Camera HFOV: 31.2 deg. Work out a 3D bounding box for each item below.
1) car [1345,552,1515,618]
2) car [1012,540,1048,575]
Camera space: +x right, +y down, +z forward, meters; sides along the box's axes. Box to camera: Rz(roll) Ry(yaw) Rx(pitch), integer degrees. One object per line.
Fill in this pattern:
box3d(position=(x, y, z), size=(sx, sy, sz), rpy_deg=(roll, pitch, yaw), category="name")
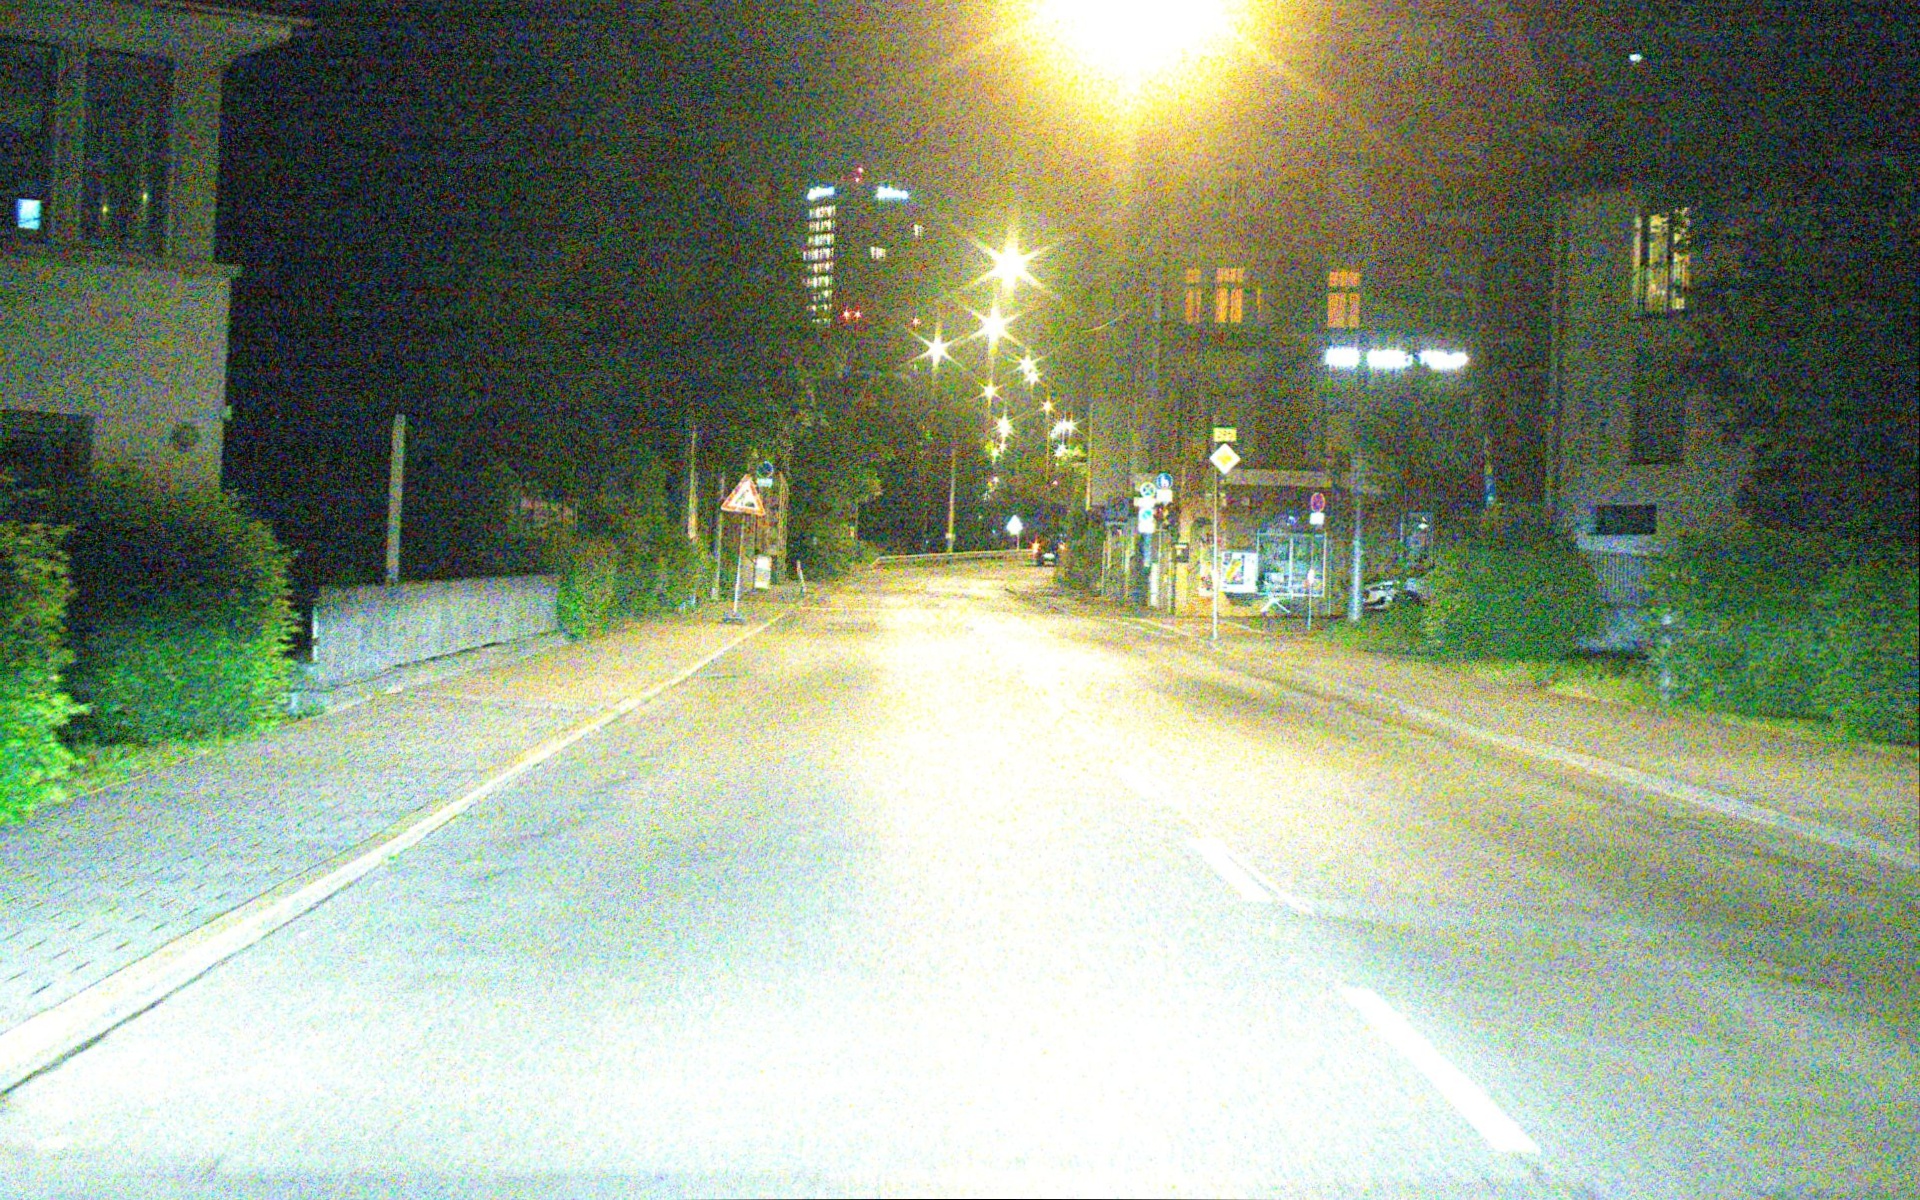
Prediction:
box3d(position=(11.610, -0.376, 85.023), size=(3.837, 1.539, 1.809), rpy_deg=(1, 1, -3), category="car")
box3d(position=(4.047, -2.453, 198.414), size=(1.924, 1.848, 4.000), rpy_deg=(1, -1, -1), category="car")
